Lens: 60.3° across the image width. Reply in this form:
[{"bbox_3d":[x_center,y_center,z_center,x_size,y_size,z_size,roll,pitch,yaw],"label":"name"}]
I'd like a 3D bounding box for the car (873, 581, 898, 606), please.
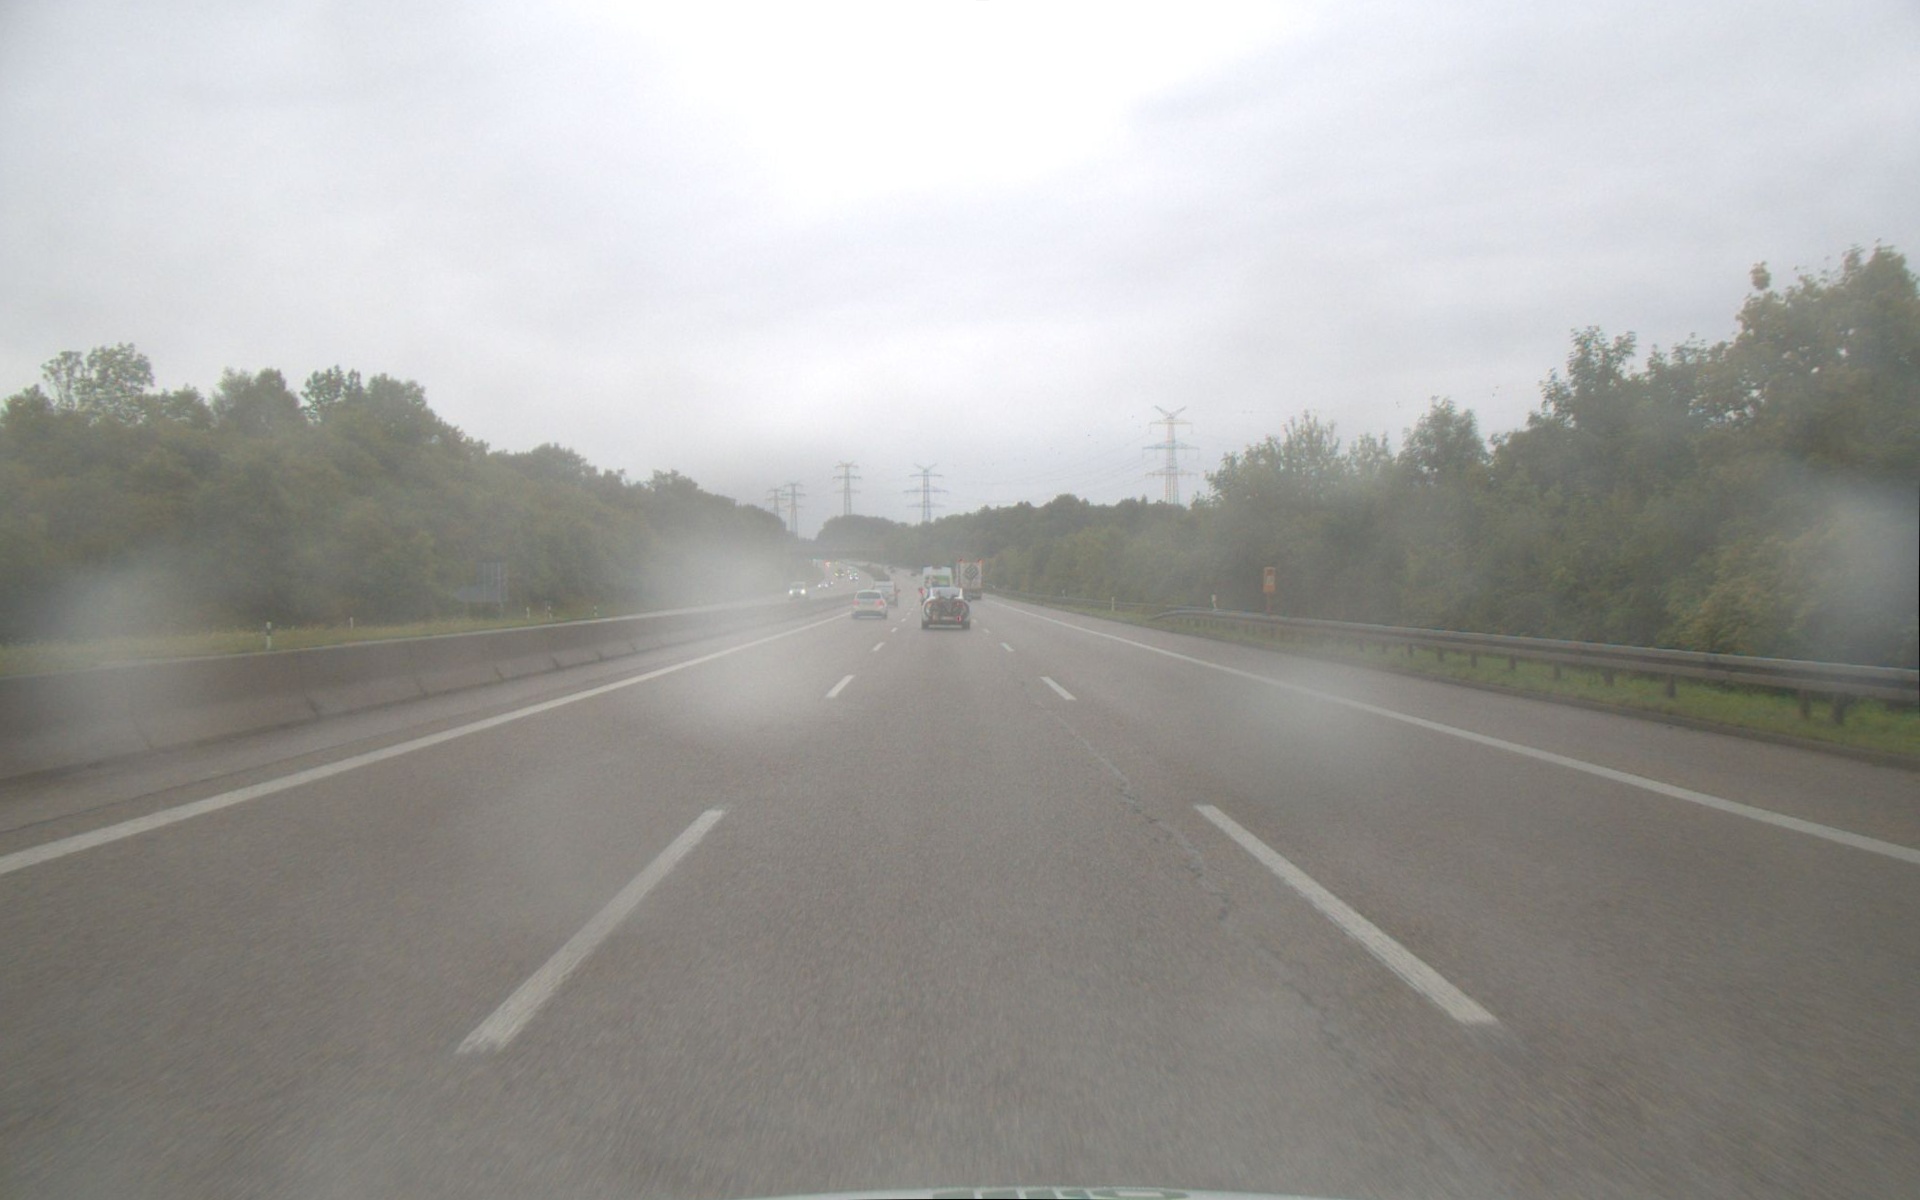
[{"bbox_3d":[-5.444,-0.442,120.878,1.809,1.803,3.998,0,0,-3],"label":"car"}]

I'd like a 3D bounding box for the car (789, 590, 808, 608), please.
[{"bbox_3d":[-18.428,-0.128,189.068,1.954,2.049,5.758,0,0,-3],"label":"car"}]

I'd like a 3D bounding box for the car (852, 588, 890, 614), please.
[{"bbox_3d":[-4.453,0.053,83.170,1.829,1.311,3.998,0,0,-3],"label":"car"}]

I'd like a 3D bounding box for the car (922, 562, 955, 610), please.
[{"bbox_3d":[-1.346,-0.856,103.449,1.953,2.914,3.999,1,0,-1],"label":"car"}]

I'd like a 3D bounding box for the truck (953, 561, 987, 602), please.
[{"bbox_3d":[1.038,-1.948,182.417,3.530,4.408,13.197,0,0,-1],"label":"truck"}]

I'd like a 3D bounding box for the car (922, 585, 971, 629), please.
[{"bbox_3d":[-0.567,0.243,65.165,1.823,1.595,4.963,0,1,-2],"label":"car"}]

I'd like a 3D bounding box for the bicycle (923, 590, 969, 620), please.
[{"bbox_3d":[-0.543,0.176,62.224,1.718,1.109,0.913,0,0,-1],"label":"bicycle"}]
